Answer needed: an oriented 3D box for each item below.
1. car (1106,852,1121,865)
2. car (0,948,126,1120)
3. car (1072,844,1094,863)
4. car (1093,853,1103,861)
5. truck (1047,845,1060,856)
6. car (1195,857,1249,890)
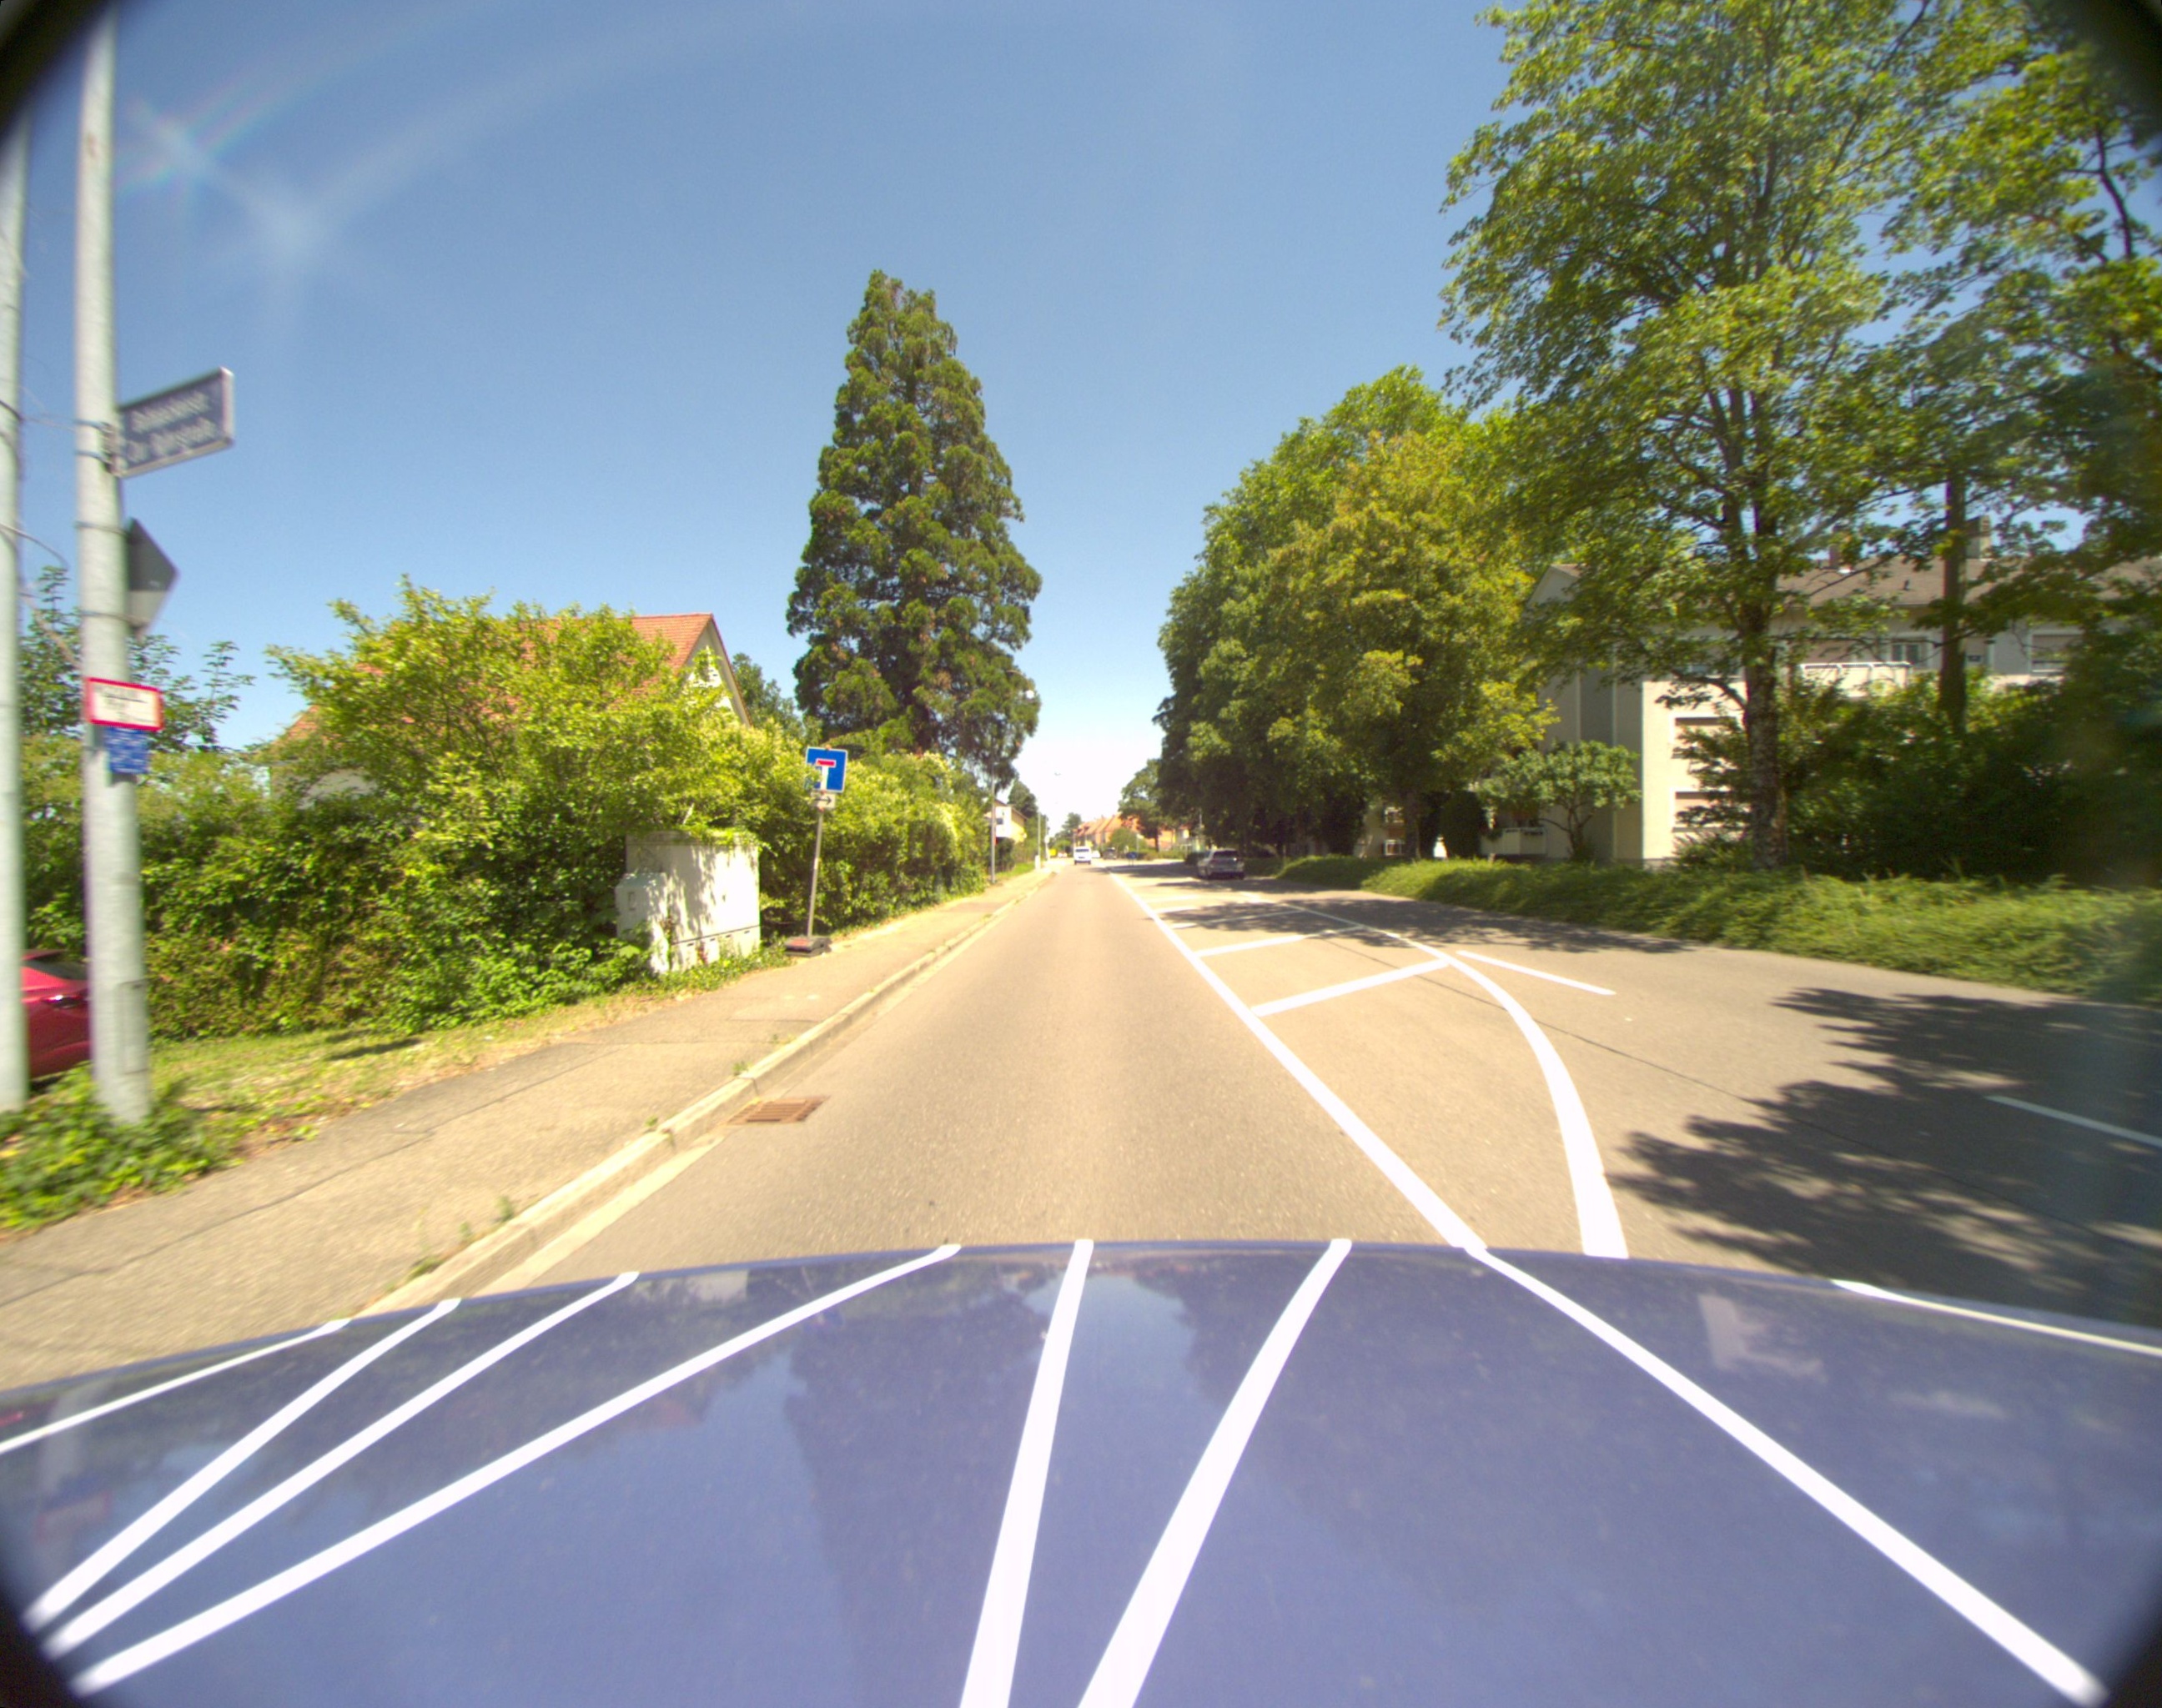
[{"bbox_3d":[5.447,0.686,127.329,1.999,1.899,4.988,-2,2,-2],"label":"car"},{"bbox_3d":[-10.893,1.768,5.636,1.707,1.354,4.544,-8,-1,42],"label":"car"},{"bbox_3d":[0.238,0.001,85.485,1.999,2.001,4.385,-2,0,-5],"label":"car"},{"bbox_3d":[3.387,0.663,152.990,1.695,1.451,3.639,-2,0,-3],"label":"car"},{"bbox_3d":[-6.890,-0.888,187.902,2.020,2.295,6.171,-4,0,-11],"label":"truck"},{"bbox_3d":[6.667,0.887,36.313,1.726,1.419,4.147,-2,0,-1],"label":"car"}]
